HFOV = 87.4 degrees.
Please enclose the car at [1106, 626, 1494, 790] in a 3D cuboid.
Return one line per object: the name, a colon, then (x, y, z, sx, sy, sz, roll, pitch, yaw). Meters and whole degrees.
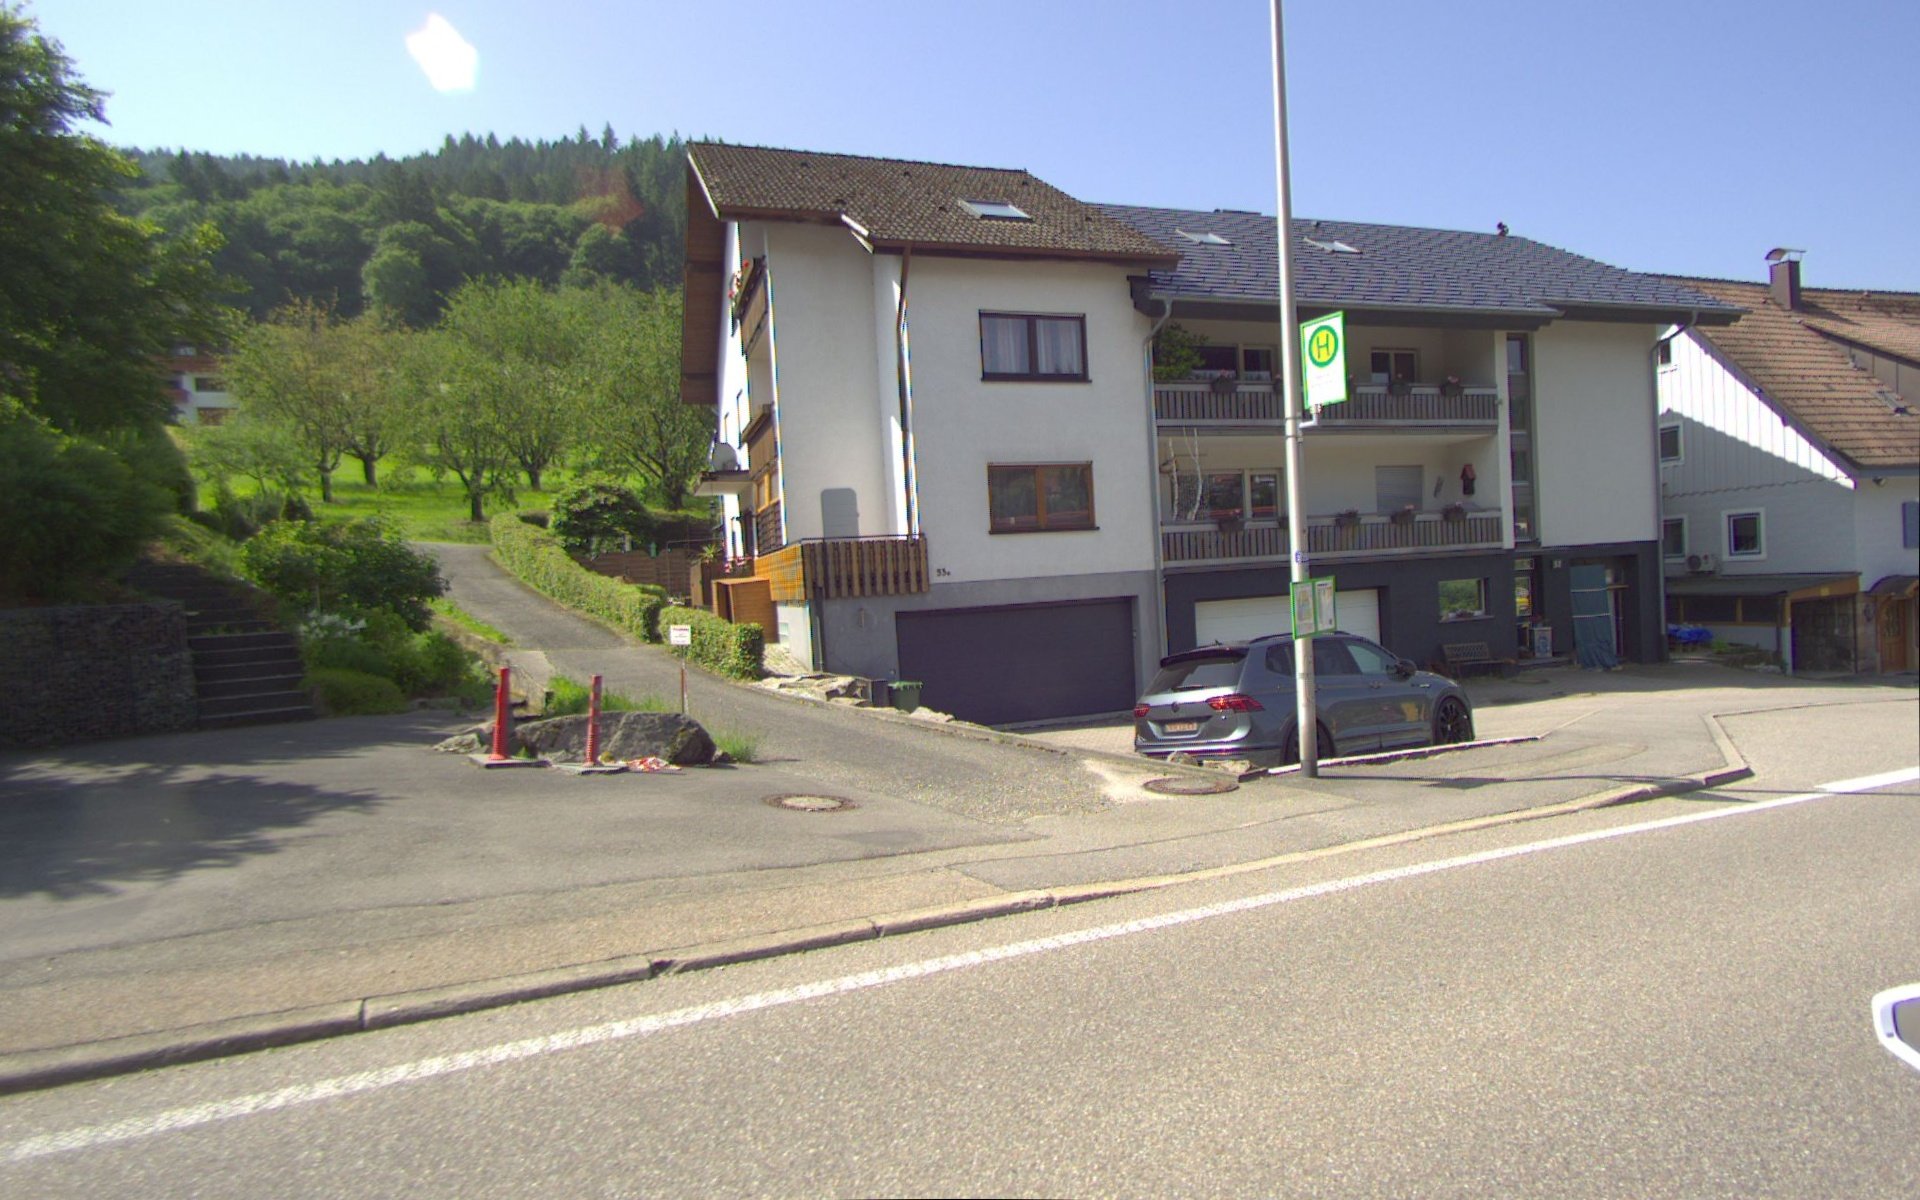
car: (3.971, 1.056, 11.376, 4.648, 1.356, 1.770, -1, 1, -35)
